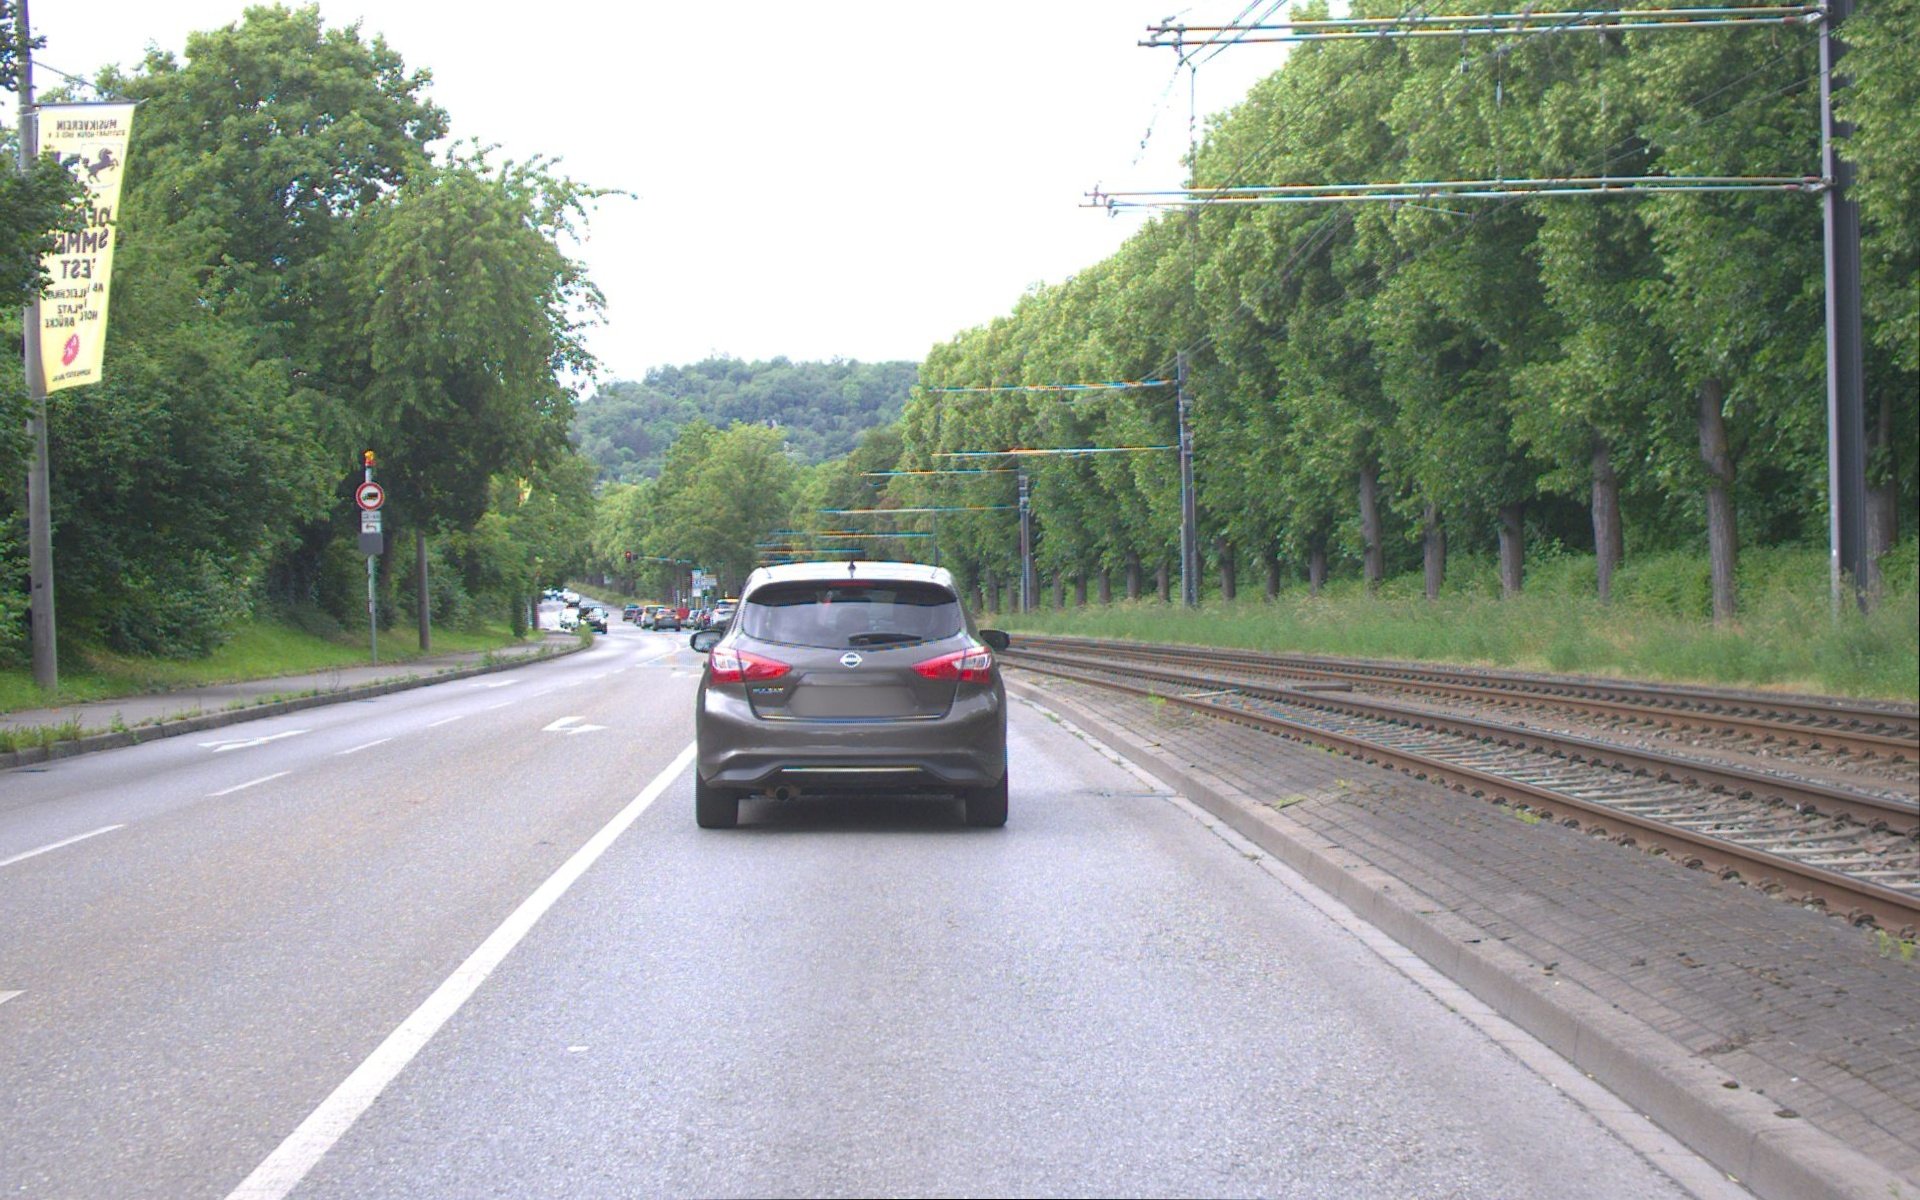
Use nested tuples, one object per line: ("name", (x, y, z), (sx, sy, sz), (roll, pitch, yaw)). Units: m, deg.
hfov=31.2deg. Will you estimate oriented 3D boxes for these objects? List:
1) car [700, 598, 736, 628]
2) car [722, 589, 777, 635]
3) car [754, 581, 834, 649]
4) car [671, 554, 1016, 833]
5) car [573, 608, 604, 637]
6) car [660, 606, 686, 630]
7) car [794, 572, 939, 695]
("car", (-12.426, 0.667, 176.723), (1.794, 1.505, 4.000), (0, 0, -3))
("car", (-6.762, 0.384, 110.608), (1.699, 1.439, 4.000), (0, 0, -3))
("car", (-3.639, 0.335, 75.683), (1.699, 1.439, 4.000), (0, 0, -2))
("car", (-0.672, 0.502, 20.660), (1.850, 1.488, 4.000), (1, 0, -1))
("car", (-26.733, 1.641, 247.483), (1.993, 2.029, 5.116), (-2, 0, -5))
("car", (-20.857, 1.314, 249.795), (1.699, 1.708, 4.000), (0, 0, -3))
("car", (-1.177, 0.408, 42.442), (1.699, 1.439, 4.000), (0, 0, -2))
